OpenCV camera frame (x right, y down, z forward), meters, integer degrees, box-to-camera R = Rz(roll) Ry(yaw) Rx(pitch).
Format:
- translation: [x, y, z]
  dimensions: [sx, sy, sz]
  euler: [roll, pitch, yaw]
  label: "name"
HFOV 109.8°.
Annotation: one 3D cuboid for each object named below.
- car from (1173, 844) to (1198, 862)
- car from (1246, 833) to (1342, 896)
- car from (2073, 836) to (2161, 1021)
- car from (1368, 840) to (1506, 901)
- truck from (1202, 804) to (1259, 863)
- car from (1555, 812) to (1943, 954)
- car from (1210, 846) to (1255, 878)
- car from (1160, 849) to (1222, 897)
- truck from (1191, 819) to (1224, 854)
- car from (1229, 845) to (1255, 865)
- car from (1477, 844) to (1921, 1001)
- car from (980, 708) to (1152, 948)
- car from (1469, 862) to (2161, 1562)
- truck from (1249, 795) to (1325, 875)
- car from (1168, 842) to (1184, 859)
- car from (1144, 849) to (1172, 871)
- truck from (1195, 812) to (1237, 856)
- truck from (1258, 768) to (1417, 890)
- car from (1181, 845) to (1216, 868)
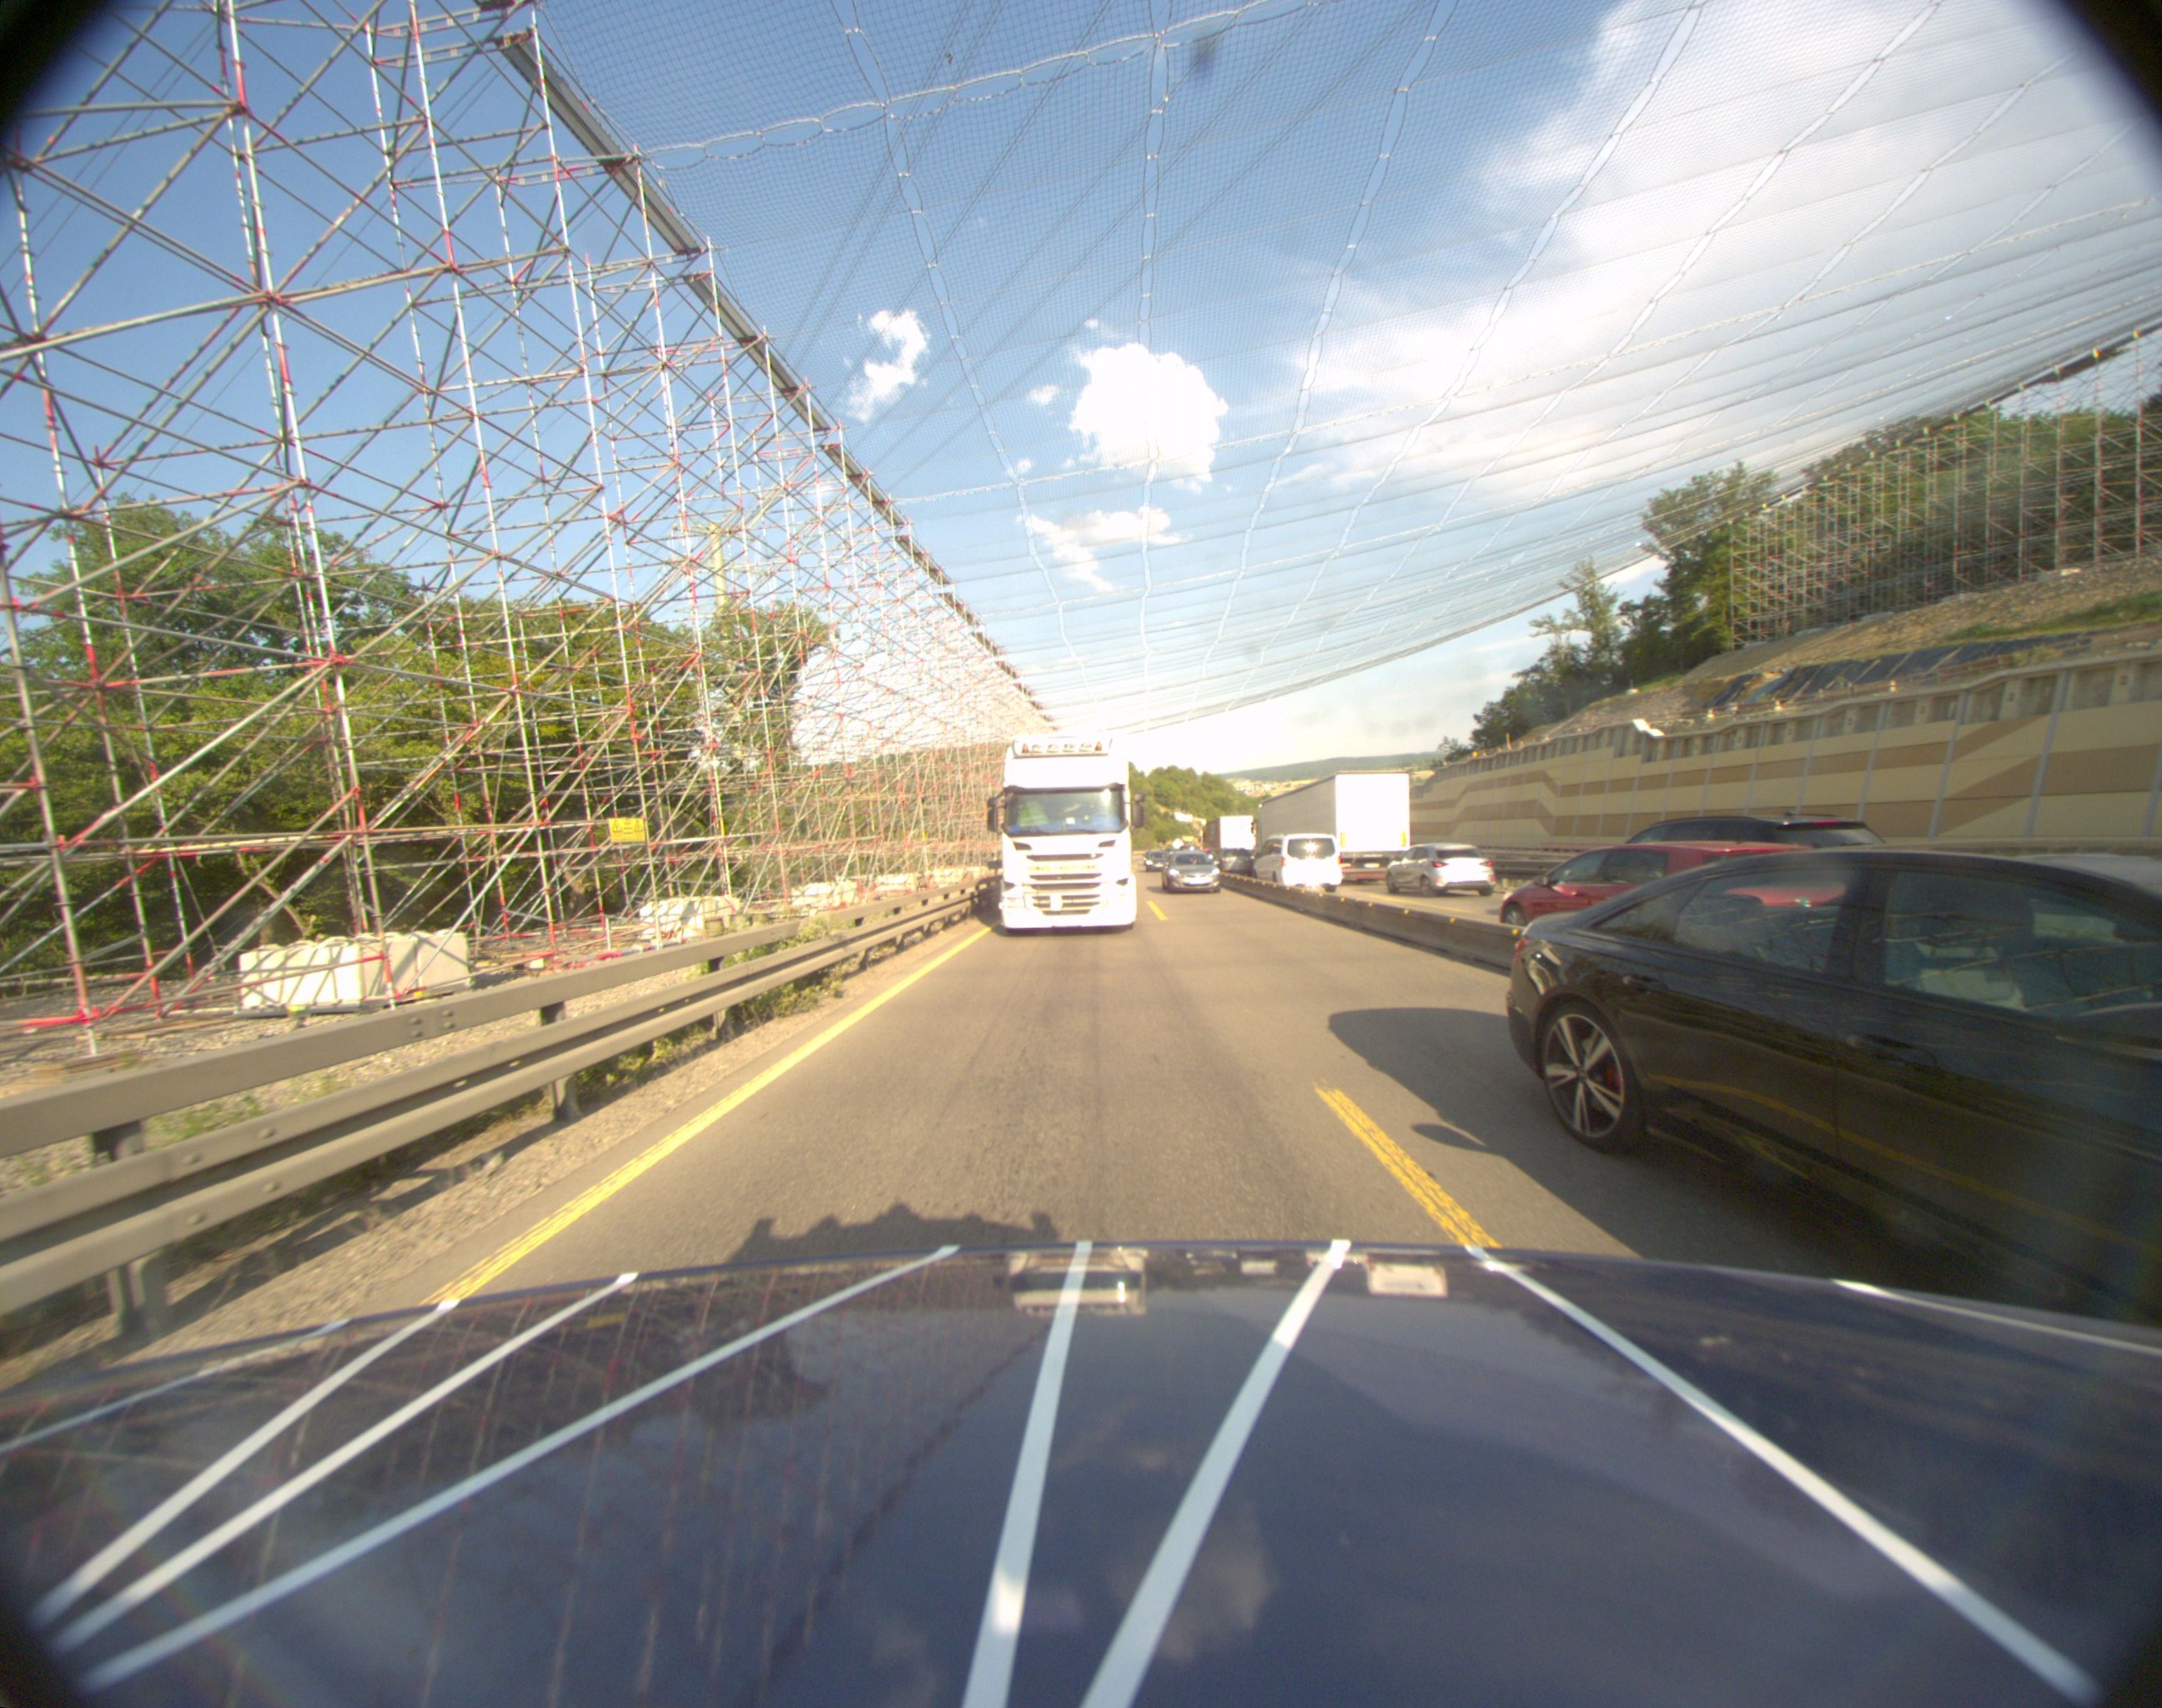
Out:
- translation: [9.339, -0.124, 68.398]
  dimensions: [1.939, 1.510, 4.979]
  euler: [-2, 1, 5]
  label: "car"
- translation: [7.067, 0.291, 25.791]
  dimensions: [1.812, 1.858, 5.281]
  euler: [-2, 1, 1]
  label: "car"
- translation: [9.344, 0.585, 4.298]
  dimensions: [1.796, 1.429, 4.380]
  euler: [-2, 1, 1]
  label: "car"
- translation: [10.186, 0.391, 22.230]
  dimensions: [1.796, 1.531, 4.909]
  euler: [-2, 1, 1]
  label: "car"
- translation: [13.310, -1.766, 69.216]
  dimensions: [2.993, 4.532, 17.410]
  euler: [-2, 1, 4]
  label: "truck"
- translation: [9.928, 0.333, 12.009]
  dimensions: [1.828, 1.717, 4.936]
  euler: [-2, 1, 1]
  label: "car"
- translation: [7.924, 0.366, 40.116]
  dimensions: [1.586, 1.543, 4.218]
  euler: [-2, 1, 1]
  label: "car"
- translation: [3.799, 0.622, 26.866]
  dimensions: [1.759, 1.464, 4.353]
  euler: [-2, 1, 3]
  label: "car"
- translation: [18.003, -2.418, 109.407]
  dimensions: [2.993, 4.532, 17.410]
  euler: [-2, 1, 4]
  label: "truck"
- translation: [11.652, 0.047, 55.161]
  dimensions: [1.370, 1.407, 3.293]
  euler: [-2, 1, 5]
  label: "car"
- translation: [6.966, 0.618, 9.371]
  dimensions: [1.813, 1.411, 4.517]
  euler: [-2, 1, 1]
  label: "car"
- translation: [-0.198, -0.499, 17.402]
  dimensions: [2.858, 4.092, 8.280]
  euler: [-2, 1, 1]
  label: "car"
- translation: [3.277, 0.791, 2.031]
  dimensions: [1.939, 1.390, 4.960]
  euler: [-2, 0, 1]
  label: "car"
- translation: [10.900, -0.972, 40.805]
  dimensions: [2.522, 3.885, 6.049]
  euler: [-2, 1, 2]
  label: "truck"
- translation: [10.538, -0.404, 84.438]
  dimensions: [1.725, 1.816, 3.294]
  euler: [-2, 1, 7]
  label: "car"
- translation: [5.332, 0.377, 52.521]
  dimensions: [1.764, 1.376, 3.823]
  euler: [-2, 1, 6]
  label: "car"
- translation: [15.452, -2.252, 88.577]
  dimensions: [2.993, 4.532, 17.410]
  euler: [-2, 1, 4]
  label: "truck"
- translation: [10.755, -0.978, 34.043]
  dimensions: [2.728, 4.202, 14.168]
  euler: [-2, 1, 2]
  label: "truck"
- translation: [8.612, 0.137, 55.930]
  dimensions: [1.939, 1.525, 4.645]
  euler: [-2, 1, 2]
  label: "car"
